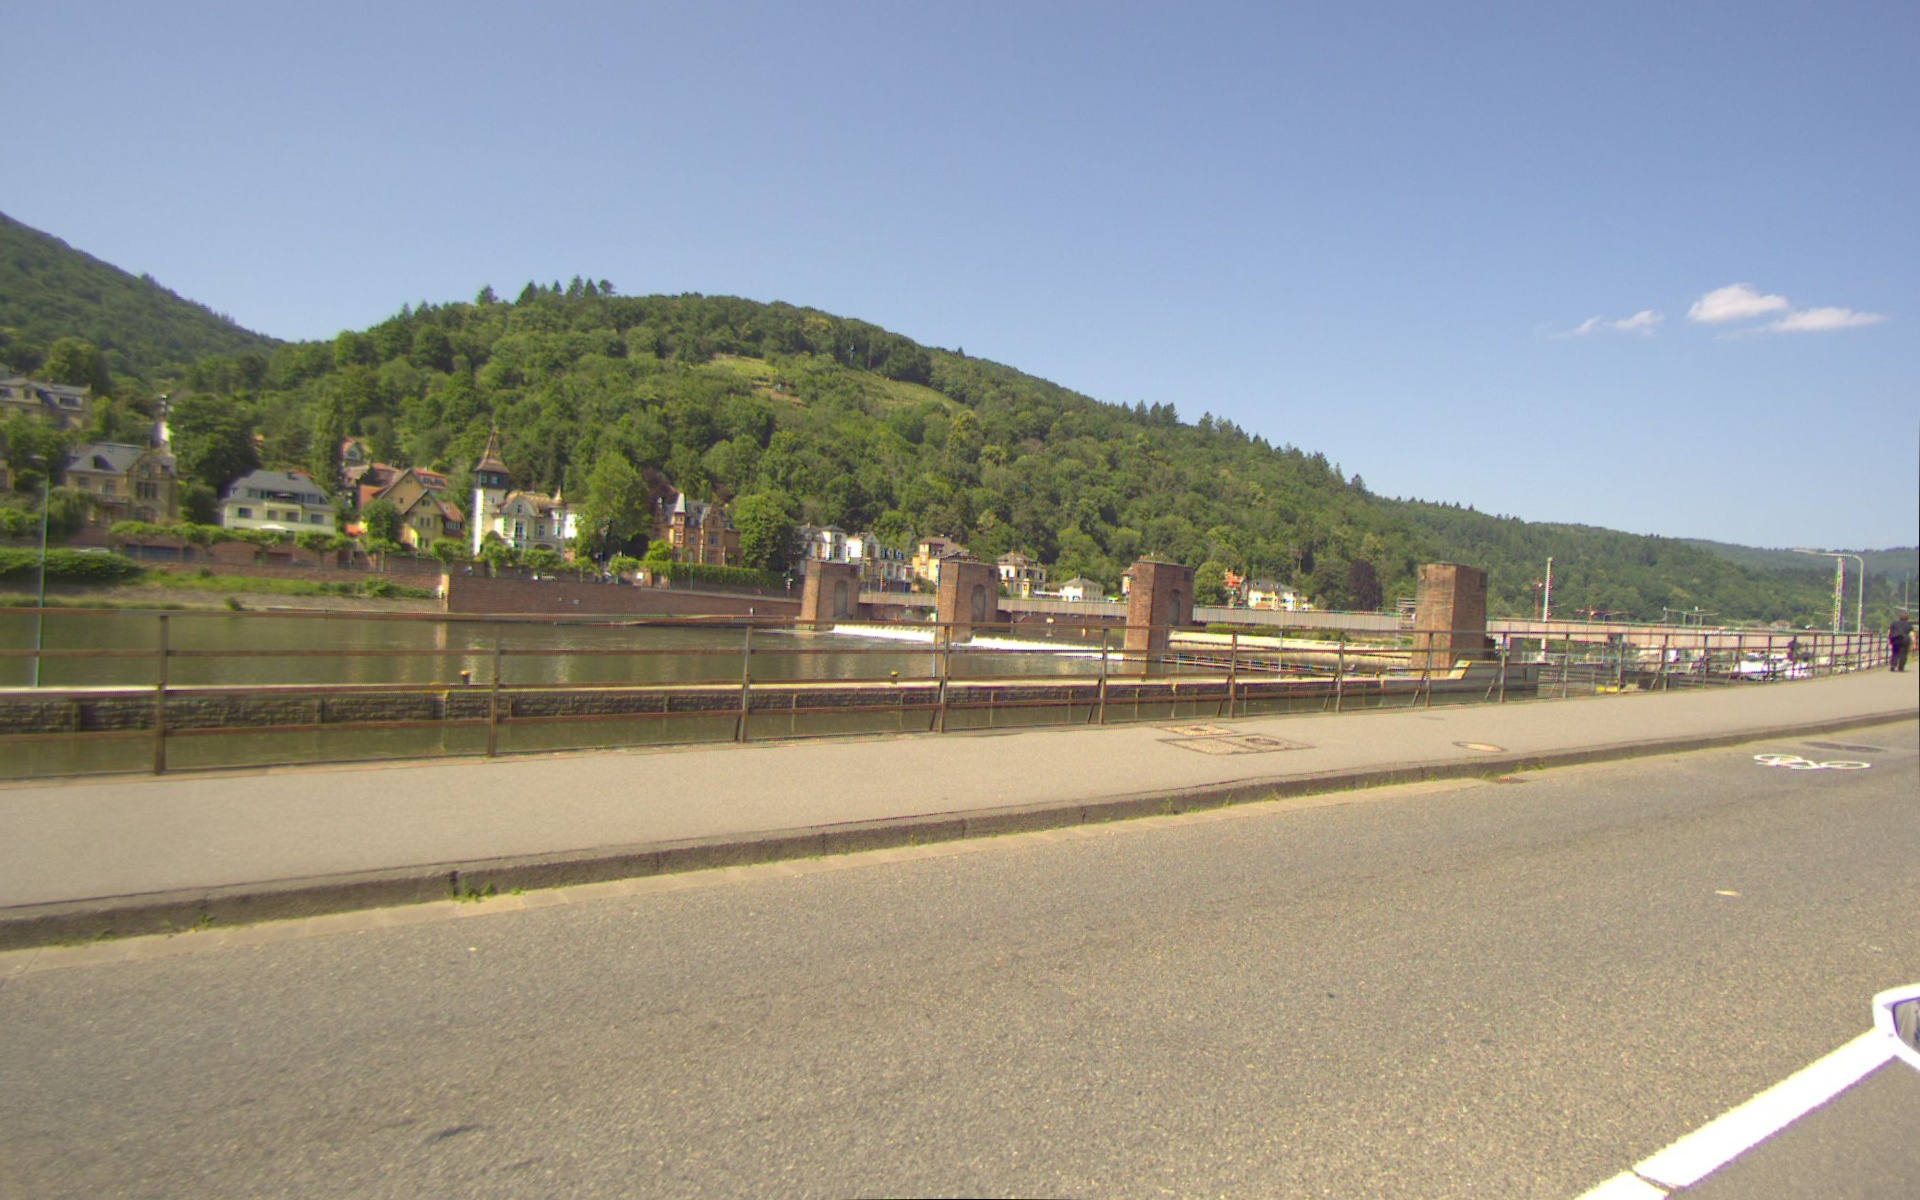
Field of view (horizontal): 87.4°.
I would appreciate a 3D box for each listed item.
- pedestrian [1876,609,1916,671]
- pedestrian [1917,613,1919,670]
[{"bbox_3d":[26.537,1.132,28.488,0.766,1.731,0.678,2,0,-37],"label":"pedestrian"},{"bbox_3d":[28.063,1.207,28.848,0.810,1.642,0.697,2,0,-39],"label":"pedestrian"}]
